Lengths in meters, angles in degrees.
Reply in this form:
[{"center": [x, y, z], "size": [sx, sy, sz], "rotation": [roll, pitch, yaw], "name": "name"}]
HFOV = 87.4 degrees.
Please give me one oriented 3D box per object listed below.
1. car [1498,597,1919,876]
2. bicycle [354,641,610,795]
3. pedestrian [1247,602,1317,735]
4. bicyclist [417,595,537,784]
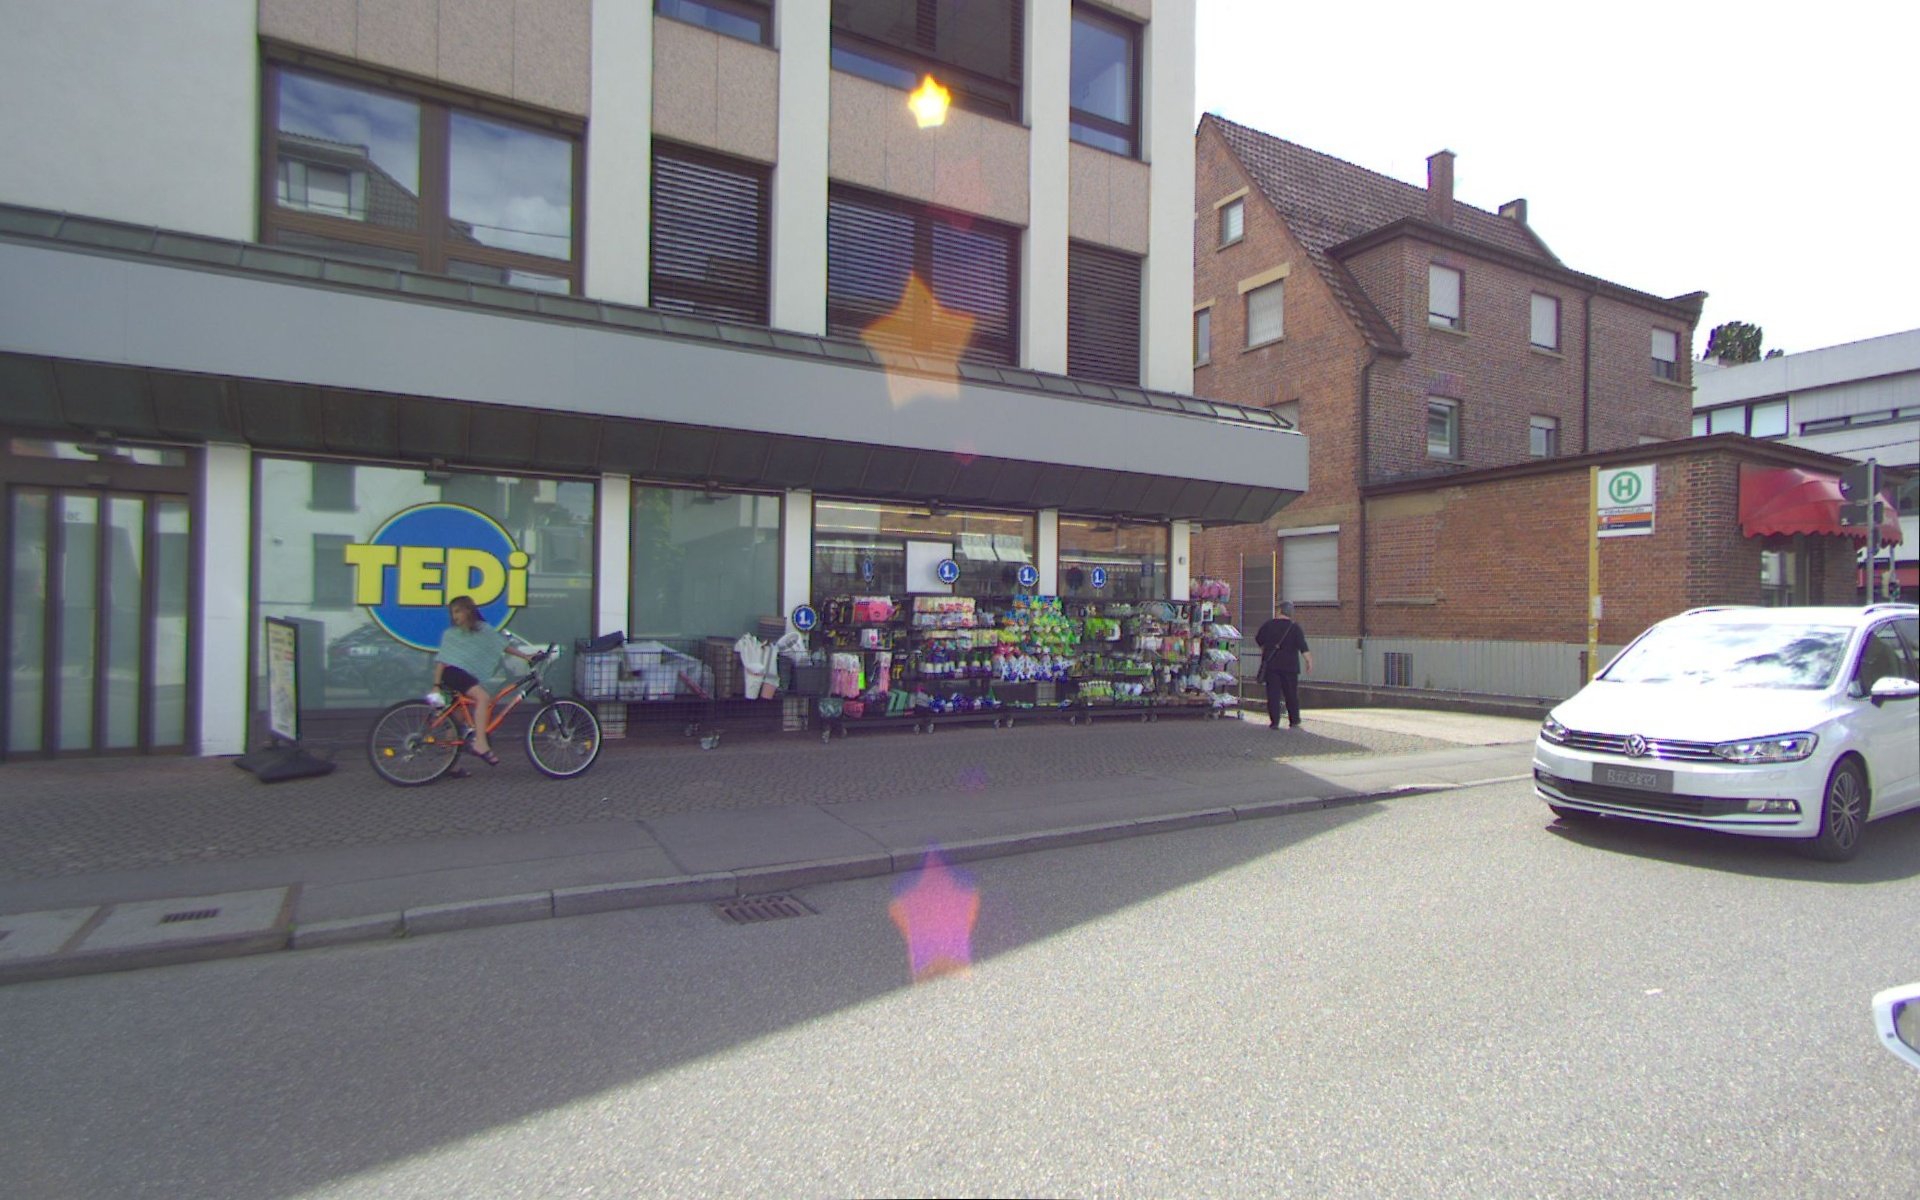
[{"center": [6.195, 0.831, 7.698], "size": [4.071, 1.634, 1.767], "rotation": [0, -2, -30], "name": "car"}, {"center": [-3.665, 0.885, 7.783], "size": [1.714, 1.064, 0.441], "rotation": [2, 2, -30], "name": "bicycle"}, {"center": [4.055, 0.844, 12.642], "size": [0.757, 1.579, 0.574], "rotation": [2, -1, 20], "name": "pedestrian"}, {"center": [-3.744, 0.664, 7.770], "size": [0.753, 1.355, 0.664], "rotation": [2, 2, -30], "name": "bicyclist"}]
